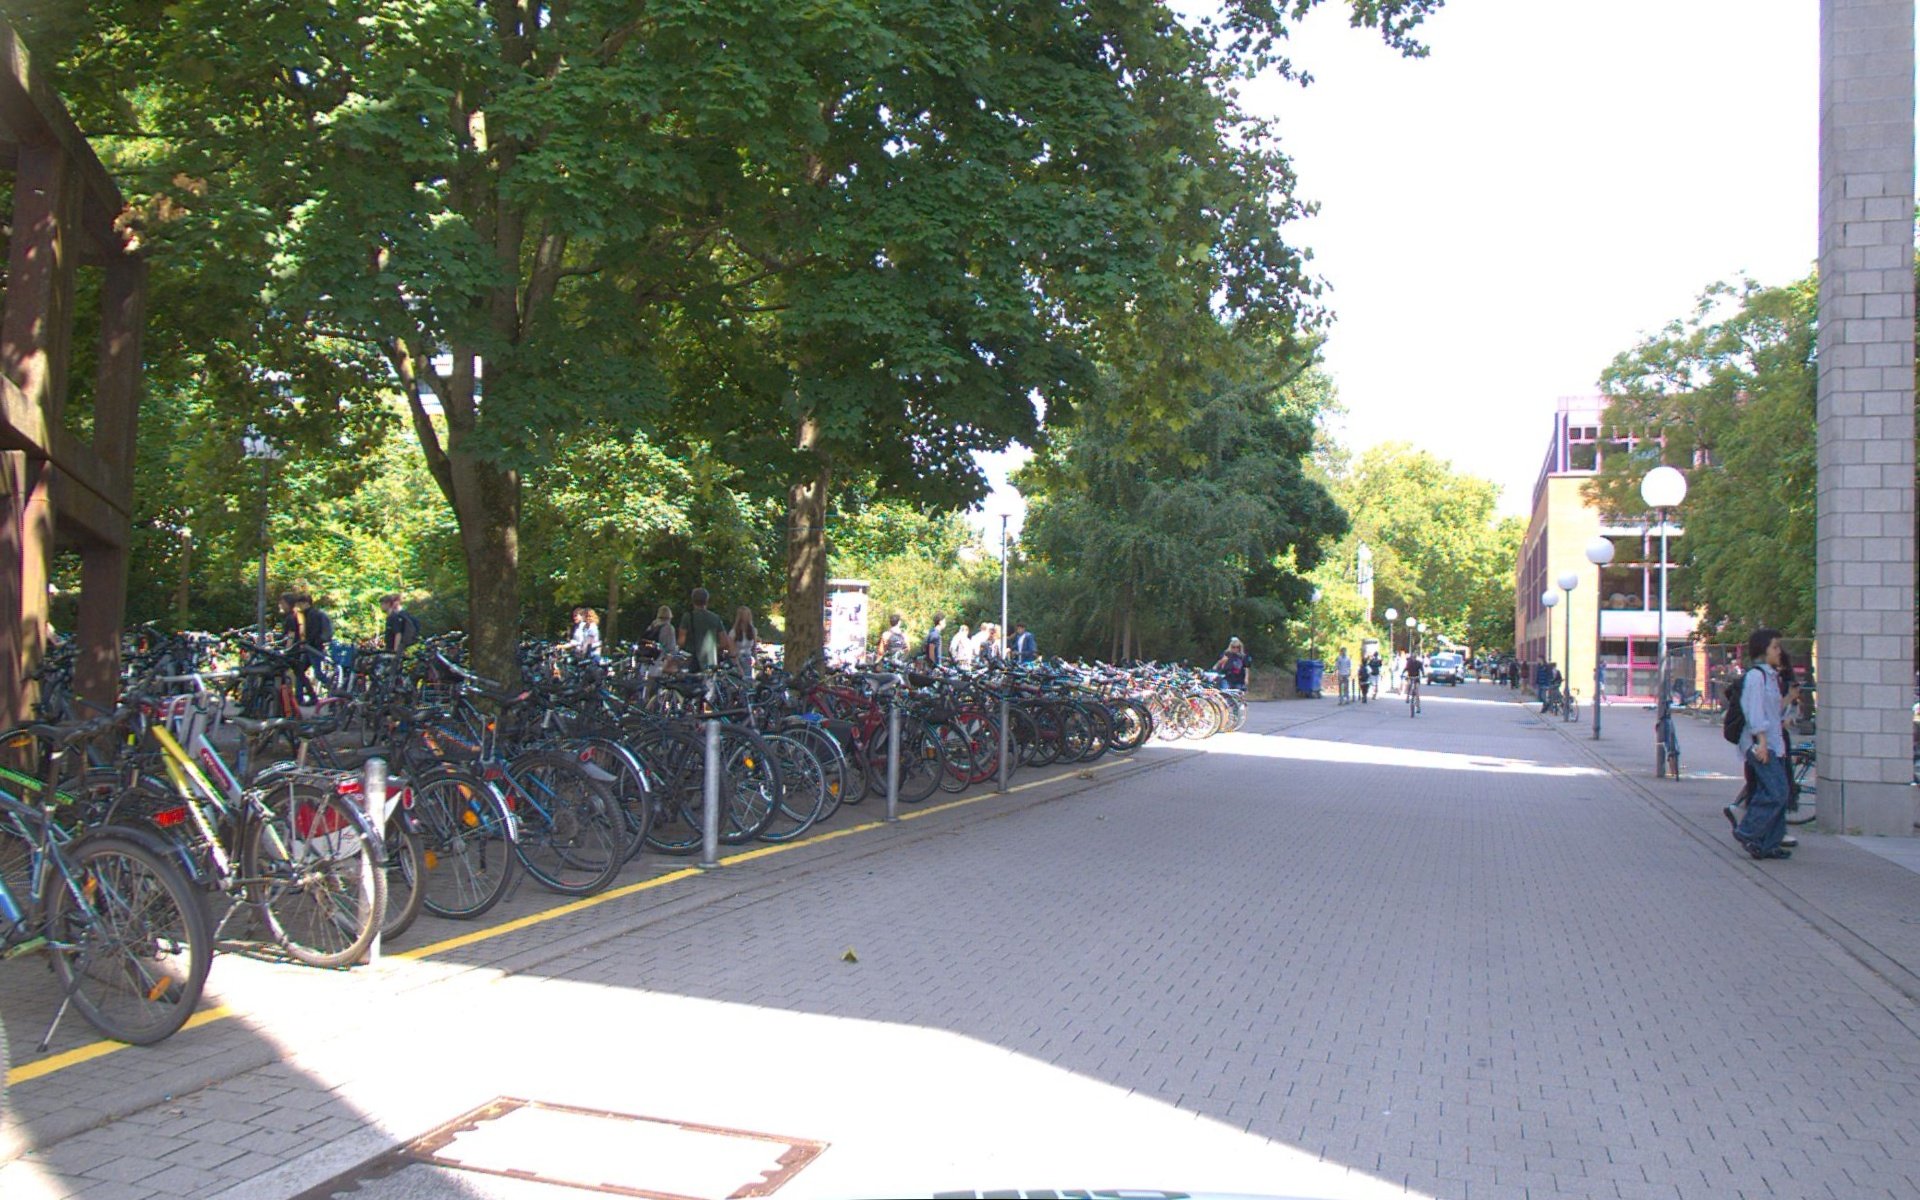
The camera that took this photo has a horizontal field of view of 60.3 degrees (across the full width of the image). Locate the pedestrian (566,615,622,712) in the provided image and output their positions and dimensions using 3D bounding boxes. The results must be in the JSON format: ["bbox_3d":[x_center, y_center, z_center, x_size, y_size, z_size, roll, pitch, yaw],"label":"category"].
[{"bbox_3d":[-6.595,1.136,29.796,0.889,1.709,0.766,2,-1,-16],"label":"pedestrian"}]

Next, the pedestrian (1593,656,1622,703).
[{"bbox_3d":[24.741,3.045,63.207,0.886,1.759,0.682,-1,-5,34],"label":"pedestrian"}]

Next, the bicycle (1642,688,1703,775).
[{"bbox_3d":[9.360,1.706,21.770,0.526,1.058,1.859,0,-2,17],"label":"bicycle"}]

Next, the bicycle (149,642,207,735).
[{"bbox_3d":[-9.918,1.104,21.011,0.465,1.102,1.689,2,-2,-20],"label":"bicycle"}]

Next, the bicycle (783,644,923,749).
[{"bbox_3d":[-1.336,1.202,20.777,1.658,1.241,0.503,1,-2,6],"label":"bicycle"}]

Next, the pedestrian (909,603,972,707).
[{"bbox_3d":[-0.363,0.991,30.157,0.931,1.867,0.677,1,-1,-38],"label":"pedestrian"}]

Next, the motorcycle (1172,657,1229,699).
[{"bbox_3d":[6.864,2.223,47.287,0.467,1.065,2.006,3,0,-29],"label":"motorcycle"}]

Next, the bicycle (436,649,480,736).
[{"bbox_3d":[-6.789,1.233,22.338,0.465,1.102,1.689,2,-2,-20],"label":"bicycle"}]

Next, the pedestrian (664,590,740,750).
[{"bbox_3d":[-3.035,0.817,19.429,0.755,1.838,0.707,2,-1,-15],"label":"pedestrian"}]

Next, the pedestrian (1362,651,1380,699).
[{"bbox_3d":[14.264,2.609,57.352,0.557,1.639,0.919,1,-2,14],"label":"pedestrian"}]

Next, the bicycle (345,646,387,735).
[{"bbox_3d":[-7.769,1.164,21.638,0.465,1.102,1.689,2,-2,-20],"label":"bicycle"}]

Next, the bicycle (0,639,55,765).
[{"bbox_3d":[-9.215,0.959,15.999,0.494,1.127,1.769,2,-2,-20],"label":"bicycle"}]

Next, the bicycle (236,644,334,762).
[{"bbox_3d":[-6.971,1.036,17.039,0.623,1.127,1.681,3,-2,-32],"label":"bicycle"}]

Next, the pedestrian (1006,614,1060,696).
[{"bbox_3d":[1.667,1.251,37.851,0.875,1.847,0.821,3,-2,-43],"label":"pedestrian"}]

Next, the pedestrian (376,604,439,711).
[{"bbox_3d":[-9.015,0.937,27.028,0.889,1.709,0.766,2,-1,-16],"label":"pedestrian"}]

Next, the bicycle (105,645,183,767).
[{"bbox_3d":[-8.114,1.026,16.417,0.496,1.127,1.681,3,-2,-32],"label":"bicycle"}]

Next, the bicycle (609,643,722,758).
[{"bbox_3d":[-3.383,1.120,18.890,0.569,1.221,1.678,3,-2,-36],"label":"bicycle"}]

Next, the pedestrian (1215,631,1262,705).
[{"bbox_3d":[7.085,1.733,42.068,1.038,1.868,0.606,3,-2,-36],"label":"pedestrian"}]

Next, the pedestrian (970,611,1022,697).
[{"bbox_3d":[0.745,1.108,34.305,0.920,1.754,0.674,1,-1,-18],"label":"pedestrian"}]

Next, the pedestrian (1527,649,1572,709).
[{"bbox_3d":[19.050,2.543,53.449,1.014,1.890,0.883,3,-1,-20],"label":"pedestrian"}]

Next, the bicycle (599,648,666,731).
[{"bbox_3d":[-4.676,1.260,23.550,0.467,1.102,1.684,2,-2,-27],"label":"bicycle"}]

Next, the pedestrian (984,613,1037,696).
[{"bbox_3d":[1.098,1.187,36.055,0.895,1.754,0.677,3,-2,-39],"label":"pedestrian"}]

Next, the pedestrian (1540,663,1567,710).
[{"bbox_3d":[21.621,3.151,60.262,0.835,1.680,0.587,1,-2,25],"label":"pedestrian"}]

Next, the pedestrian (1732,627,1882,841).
[{"bbox_3d":[6.760,1.042,13.215,0.795,1.646,0.735,1,-2,-25],"label":"pedestrian"}]

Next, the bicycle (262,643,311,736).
[{"bbox_3d":[-8.545,1.119,21.018,0.465,1.102,1.689,2,-2,-20],"label":"bicycle"}]

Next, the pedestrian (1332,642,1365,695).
[{"bbox_3d":[14.068,2.464,59.906,0.768,1.877,1.116,2,-1,-6],"label":"pedestrian"}]

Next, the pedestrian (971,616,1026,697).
[{"bbox_3d":[0.894,1.303,38.325,0.975,1.835,0.758,3,-2,-41],"label":"pedestrian"}]

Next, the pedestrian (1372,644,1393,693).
[{"bbox_3d":[16.212,2.625,63.465,0.668,1.876,0.783,1,-2,18],"label":"pedestrian"}]

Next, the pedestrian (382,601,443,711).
[{"bbox_3d":[-9.236,0.939,27.922,0.889,1.805,0.766,2,-1,-16],"label":"pedestrian"}]

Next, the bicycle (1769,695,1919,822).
[{"bbox_3d":[8.112,1.388,14.575,1.701,1.057,0.450,0,-1,13],"label":"bicycle"}]

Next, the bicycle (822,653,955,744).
[{"bbox_3d":[-0.928,1.286,21.755,1.658,1.127,0.503,1,-2,6],"label":"bicycle"}]

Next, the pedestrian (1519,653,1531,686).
[{"bbox_3d":[29.172,3.604,85.425,0.574,1.702,0.699,-1,-3,19],"label":"pedestrian"}]

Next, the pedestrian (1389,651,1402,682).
[{"bbox_3d":[26.880,4.080,102.073,0.668,1.876,0.783,1,-2,18],"label":"pedestrian"}]

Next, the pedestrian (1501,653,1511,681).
[{"bbox_3d":[32.407,3.977,98.142,0.574,1.702,0.817,-1,-3,19],"label":"pedestrian"}]

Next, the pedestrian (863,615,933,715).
[{"bbox_3d":[-1.111,1.154,29.788,1.054,1.754,0.709,1,-1,-40],"label":"pedestrian"}]

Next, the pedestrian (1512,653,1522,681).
[{"bbox_3d":[33.615,4.042,99.766,0.574,1.702,0.817,-1,-3,19],"label":"pedestrian"}]

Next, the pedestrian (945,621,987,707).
[{"bbox_3d":[0.120,1.314,34.239,0.673,1.754,0.727,1,-1,-19],"label":"pedestrian"}]

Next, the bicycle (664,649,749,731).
[{"bbox_3d":[-3.673,1.288,23.896,0.469,1.102,1.677,3,-2,-36],"label":"bicycle"}]

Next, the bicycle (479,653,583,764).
[{"bbox_3d":[-4.708,1.162,18.082,0.497,1.127,1.678,3,-2,-36],"label":"bicycle"}]

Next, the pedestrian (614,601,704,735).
[{"bbox_3d":[-4.018,0.896,22.070,0.897,1.733,0.760,2,-2,-36],"label":"pedestrian"}]

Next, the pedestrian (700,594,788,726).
[{"bbox_3d":[-2.917,0.800,22.354,0.892,1.733,0.764,0,-2,45],"label":"pedestrian"}]

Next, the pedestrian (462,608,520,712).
[{"bbox_3d":[-7.947,1.013,28.038,0.889,1.709,0.766,2,-1,-16],"label":"pedestrian"}]

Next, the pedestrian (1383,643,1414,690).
[{"bbox_3d":[18.251,2.774,68.832,1.070,1.914,0.717,3,-3,-35],"label":"pedestrian"}]

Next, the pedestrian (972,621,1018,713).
[{"bbox_3d":[0.690,1.310,32.409,0.669,1.754,0.732,2,-1,16],"label":"pedestrian"}]

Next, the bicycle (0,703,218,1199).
[{"bbox_3d":[-2.434,0.823,2.992,0.787,1.192,1.884,2,-1,26],"label":"bicycle"}]

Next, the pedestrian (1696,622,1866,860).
[{"bbox_3d":[6.133,1.029,12.375,0.667,1.700,0.888,1,-3,-35],"label":"pedestrian"}]

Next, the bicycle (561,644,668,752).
[{"bbox_3d":[-3.891,1.080,18.550,0.497,1.127,1.678,3,-2,-36],"label":"bicycle"}]

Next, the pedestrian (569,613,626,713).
[{"bbox_3d":[-6.364,1.098,28.995,0.889,1.709,0.766,2,-1,-16],"label":"pedestrian"}]

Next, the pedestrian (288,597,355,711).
[{"bbox_3d":[-10.389,0.877,26.934,0.889,1.805,0.766,2,-1,-16],"label":"pedestrian"}]

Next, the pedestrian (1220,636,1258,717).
[{"bbox_3d":[5.968,1.626,35.403,0.751,1.709,0.908,0,-1,12],"label":"pedestrian"}]

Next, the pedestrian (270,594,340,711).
[{"bbox_3d":[-10.337,0.823,26.126,0.889,1.805,0.766,2,-1,-16],"label":"pedestrian"}]

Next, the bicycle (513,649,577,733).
[{"bbox_3d":[-5.818,1.251,23.122,0.467,1.102,1.684,2,-2,-27],"label":"bicycle"}]

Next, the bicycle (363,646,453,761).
[{"bbox_3d":[-5.890,1.077,17.602,0.496,1.127,1.681,3,-2,-32],"label":"bicycle"}]
